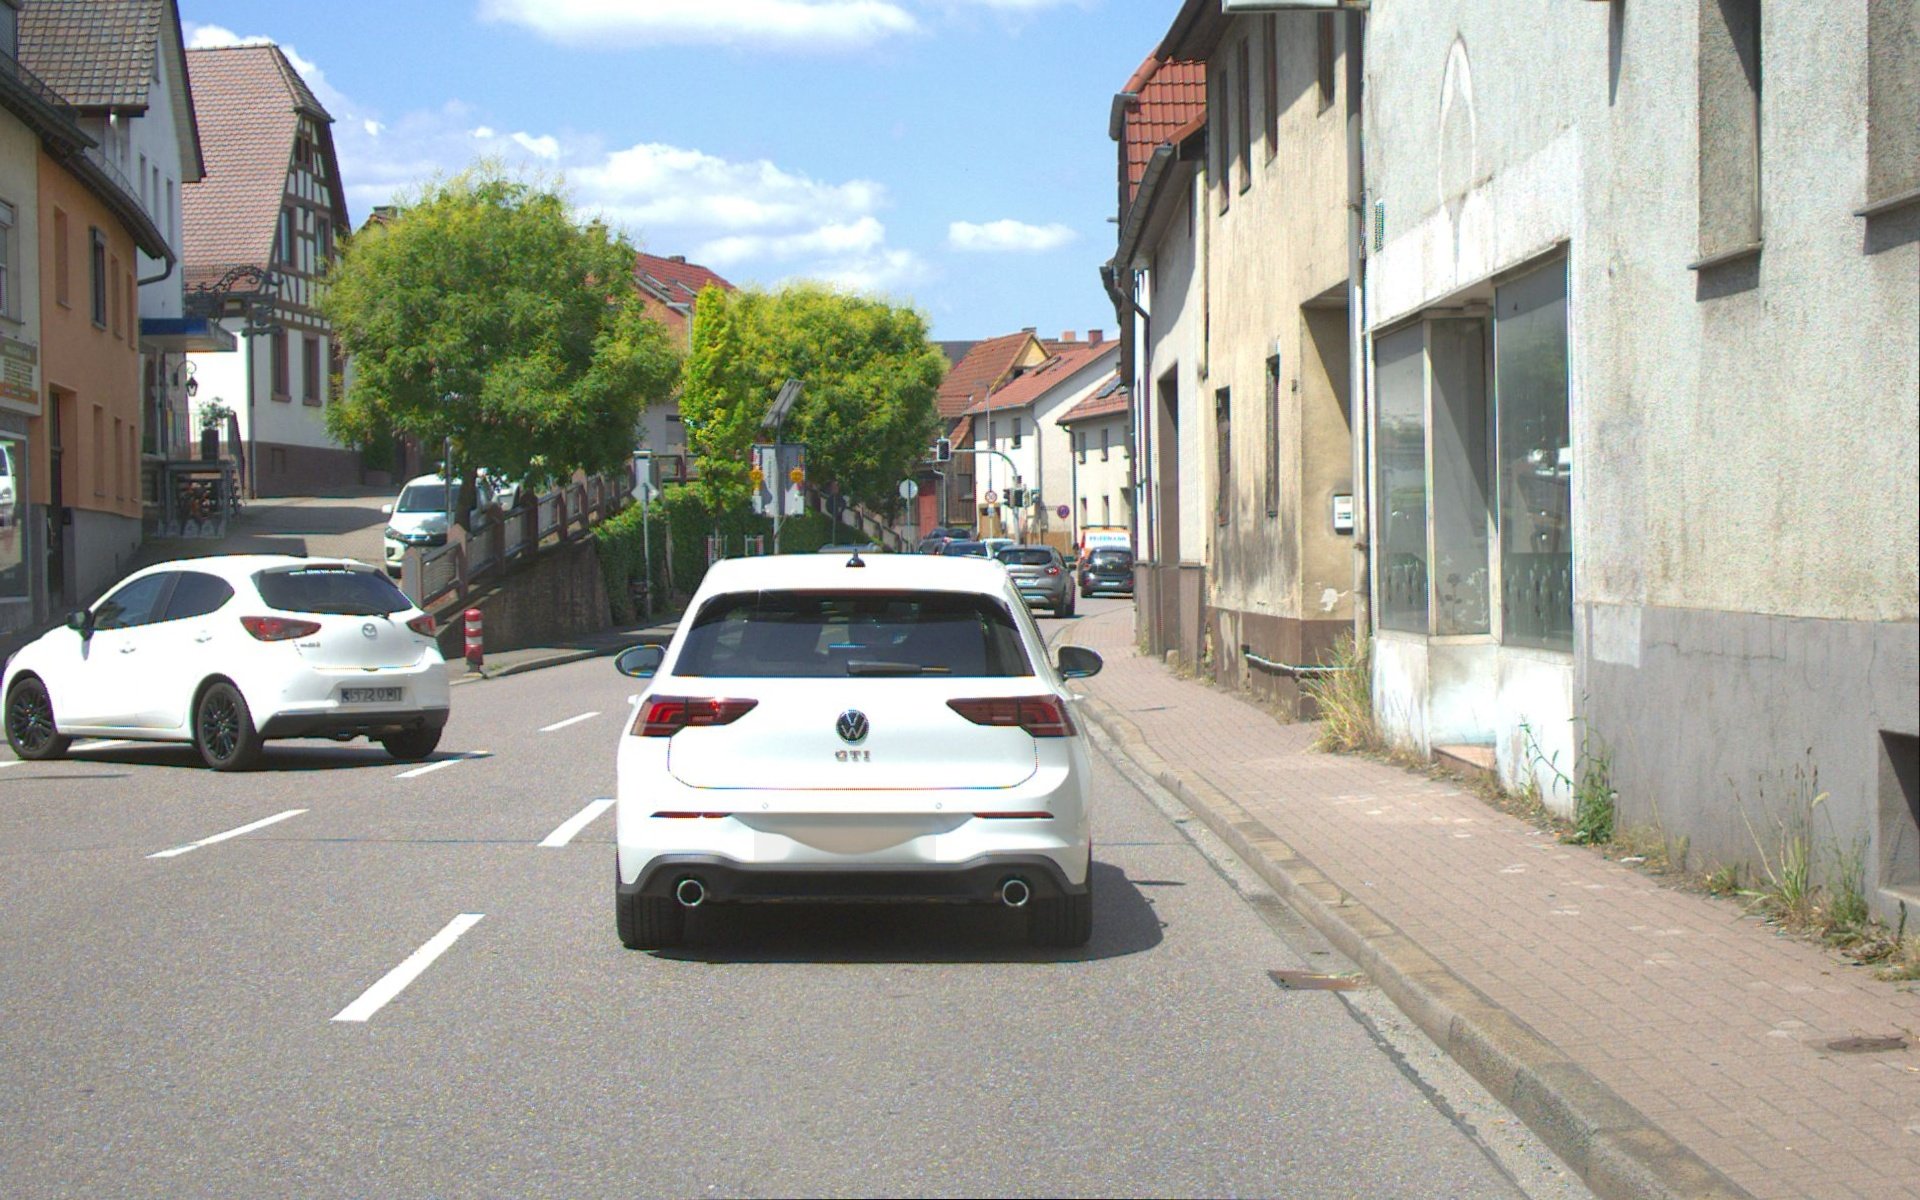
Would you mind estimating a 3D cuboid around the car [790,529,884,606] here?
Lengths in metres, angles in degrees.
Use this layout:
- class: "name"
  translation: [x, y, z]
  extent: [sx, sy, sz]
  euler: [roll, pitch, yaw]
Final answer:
- class: "car"
  translation: [-2.688, -0.735, 75.917]
  extent: [1.758, 1.629, 4.049]
  euler: [-1, 1, 2]

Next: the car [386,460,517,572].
- class: "car"
  translation: [-8.591, -1.462, 58.346]
  extent: [1.693, 1.537, 3.857]
  euler: [0, 7, -1]

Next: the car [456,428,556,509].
- class: "car"
  translation: [-9.283, -2.714, 70.489]
  extent: [1.576, 1.357, 3.857]
  euler: [0, 7, -1]

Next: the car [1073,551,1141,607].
- class: "car"
  translation: [4.248, -0.611, 98.666]
  extent: [1.776, 1.533, 4.000]
  euler: [0, 1, 5]

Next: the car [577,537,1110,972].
- class: "car"
  translation: [-0.366, 0.503, 13.813]
  extent: [1.808, 1.462, 4.000]
  euler: [1, 1, 1]

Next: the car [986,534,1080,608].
- class: "car"
  translation: [1.618, -0.656, 75.113]
  extent: [1.776, 1.533, 3.999]
  euler: [0, 1, 5]

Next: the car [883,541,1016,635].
- class: "car"
  translation: [-0.138, -0.213, 56.892]
  extent: [1.808, 1.462, 3.999]
  euler: [1, 1, 5]

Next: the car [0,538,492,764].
- class: "car"
  translation: [-5.304, 0.311, 24.757]
  extent: [1.809, 1.462, 3.998]
  euler: [0, 1, -44]

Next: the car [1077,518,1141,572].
- class: "car"
  translation: [4.974, -1.833, 114.303]
  extent: [1.776, 1.759, 3.999]
  euler: [0, 1, 8]
